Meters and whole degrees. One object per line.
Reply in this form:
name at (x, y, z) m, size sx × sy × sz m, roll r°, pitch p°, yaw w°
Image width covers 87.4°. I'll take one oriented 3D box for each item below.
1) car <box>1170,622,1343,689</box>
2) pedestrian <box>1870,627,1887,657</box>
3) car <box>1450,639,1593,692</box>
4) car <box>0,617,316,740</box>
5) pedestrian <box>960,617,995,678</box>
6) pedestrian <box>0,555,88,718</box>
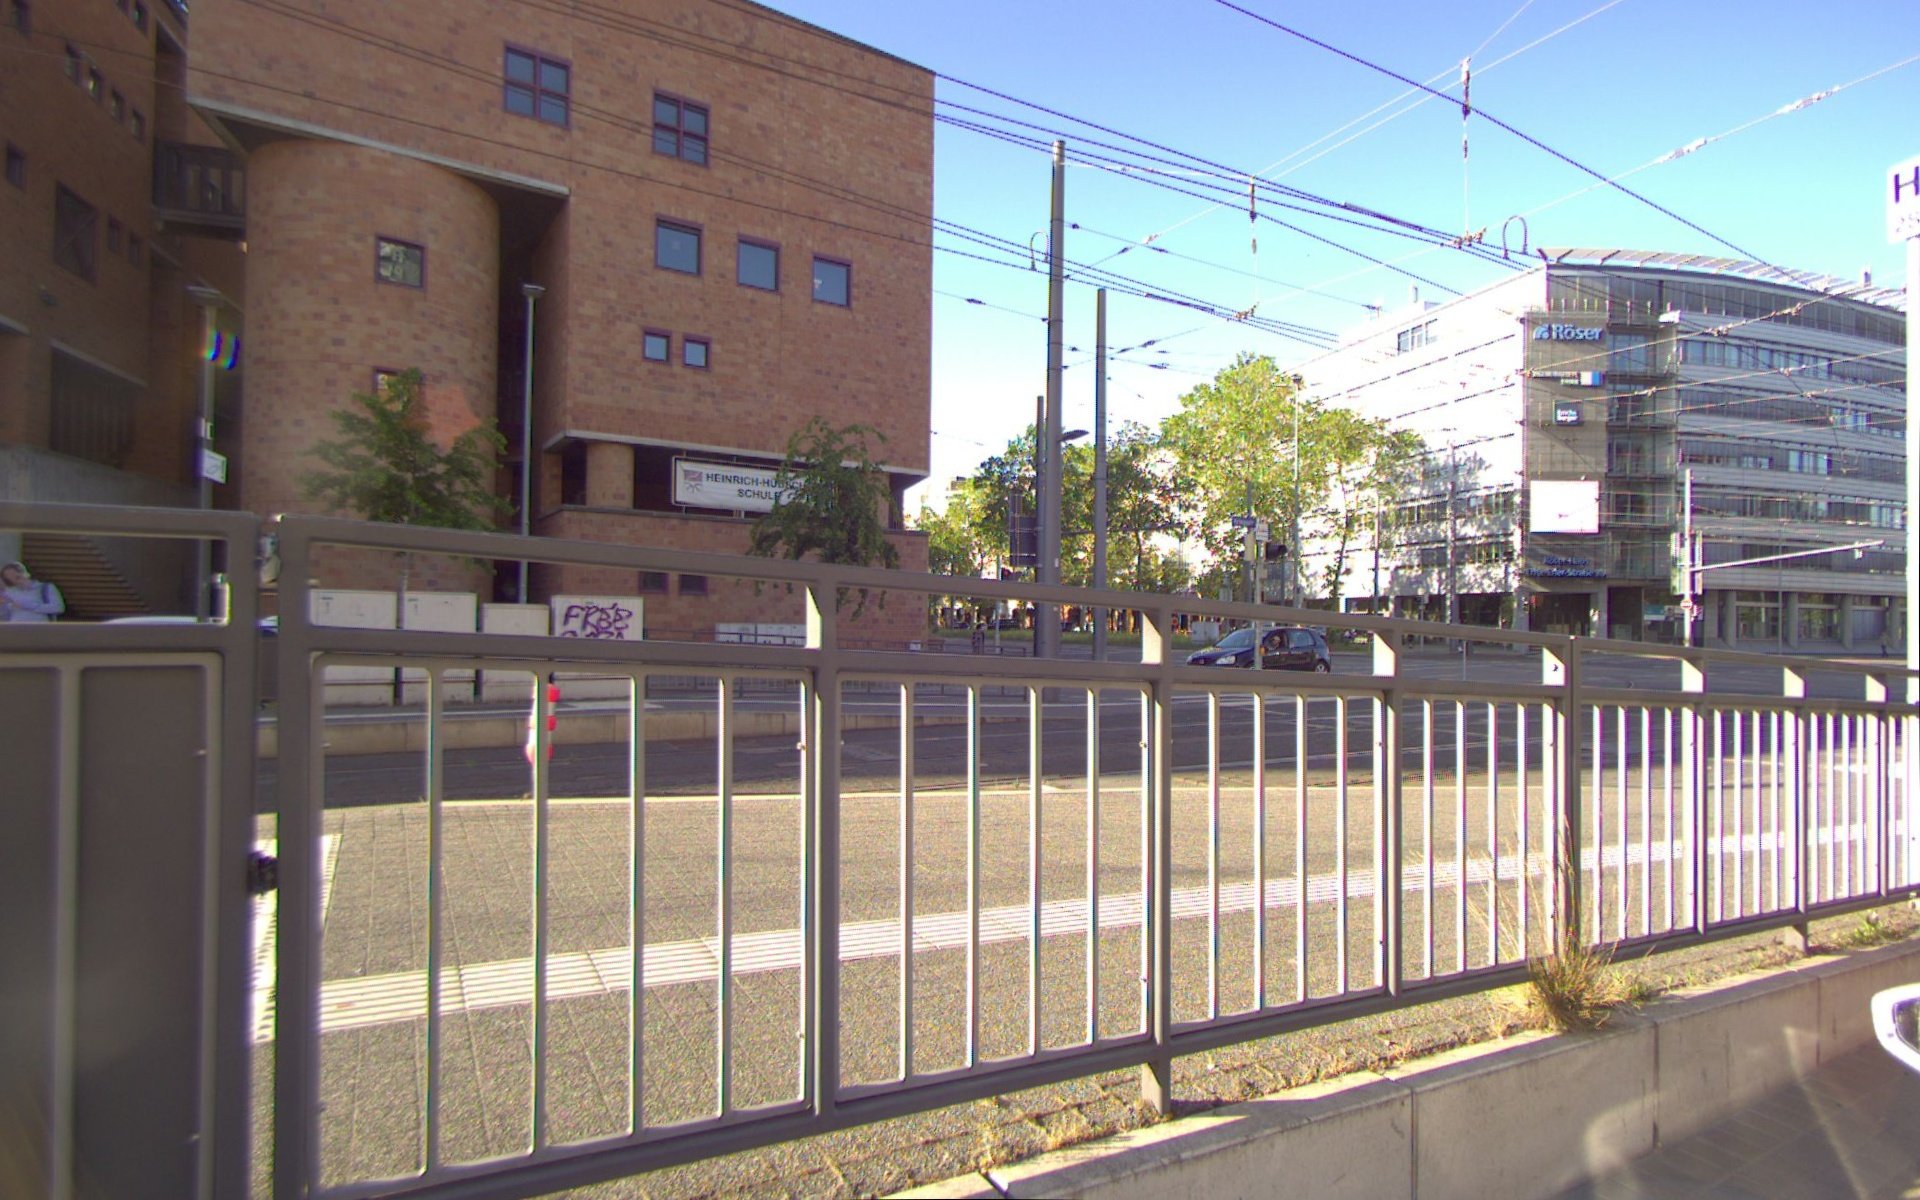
car at (7.279, 1.346, 24.549) m, size 4.198 × 1.449 × 1.813 m, roll 2°, pitch 0°, yaw -34°
pedestrian at (63.601, 2.914, 69.530) m, size 0.745 × 2.040 × 0.627 m, roll 2°, pitch 0°, yaw -30°
car at (13.608, 1.556, 24.382) m, size 2.841 × 1.077 × 1.238 m, roll 2°, pitch 0°, yaw 40°
car at (-11.066, 0.952, 13.071) m, size 4.484 × 1.449 × 1.814 m, roll 1°, pitch -1°, yaw -35°
pedestrian at (0.503, 1.366, 29.122) m, size 0.785 × 1.714 × 0.587 m, roll 2°, pitch 0°, yaw -29°
pedestrian at (-9.702, 0.372, 10.561) m, size 0.679 × 1.656 × 0.662 m, roll 2°, pitch 0°, yaw -34°
